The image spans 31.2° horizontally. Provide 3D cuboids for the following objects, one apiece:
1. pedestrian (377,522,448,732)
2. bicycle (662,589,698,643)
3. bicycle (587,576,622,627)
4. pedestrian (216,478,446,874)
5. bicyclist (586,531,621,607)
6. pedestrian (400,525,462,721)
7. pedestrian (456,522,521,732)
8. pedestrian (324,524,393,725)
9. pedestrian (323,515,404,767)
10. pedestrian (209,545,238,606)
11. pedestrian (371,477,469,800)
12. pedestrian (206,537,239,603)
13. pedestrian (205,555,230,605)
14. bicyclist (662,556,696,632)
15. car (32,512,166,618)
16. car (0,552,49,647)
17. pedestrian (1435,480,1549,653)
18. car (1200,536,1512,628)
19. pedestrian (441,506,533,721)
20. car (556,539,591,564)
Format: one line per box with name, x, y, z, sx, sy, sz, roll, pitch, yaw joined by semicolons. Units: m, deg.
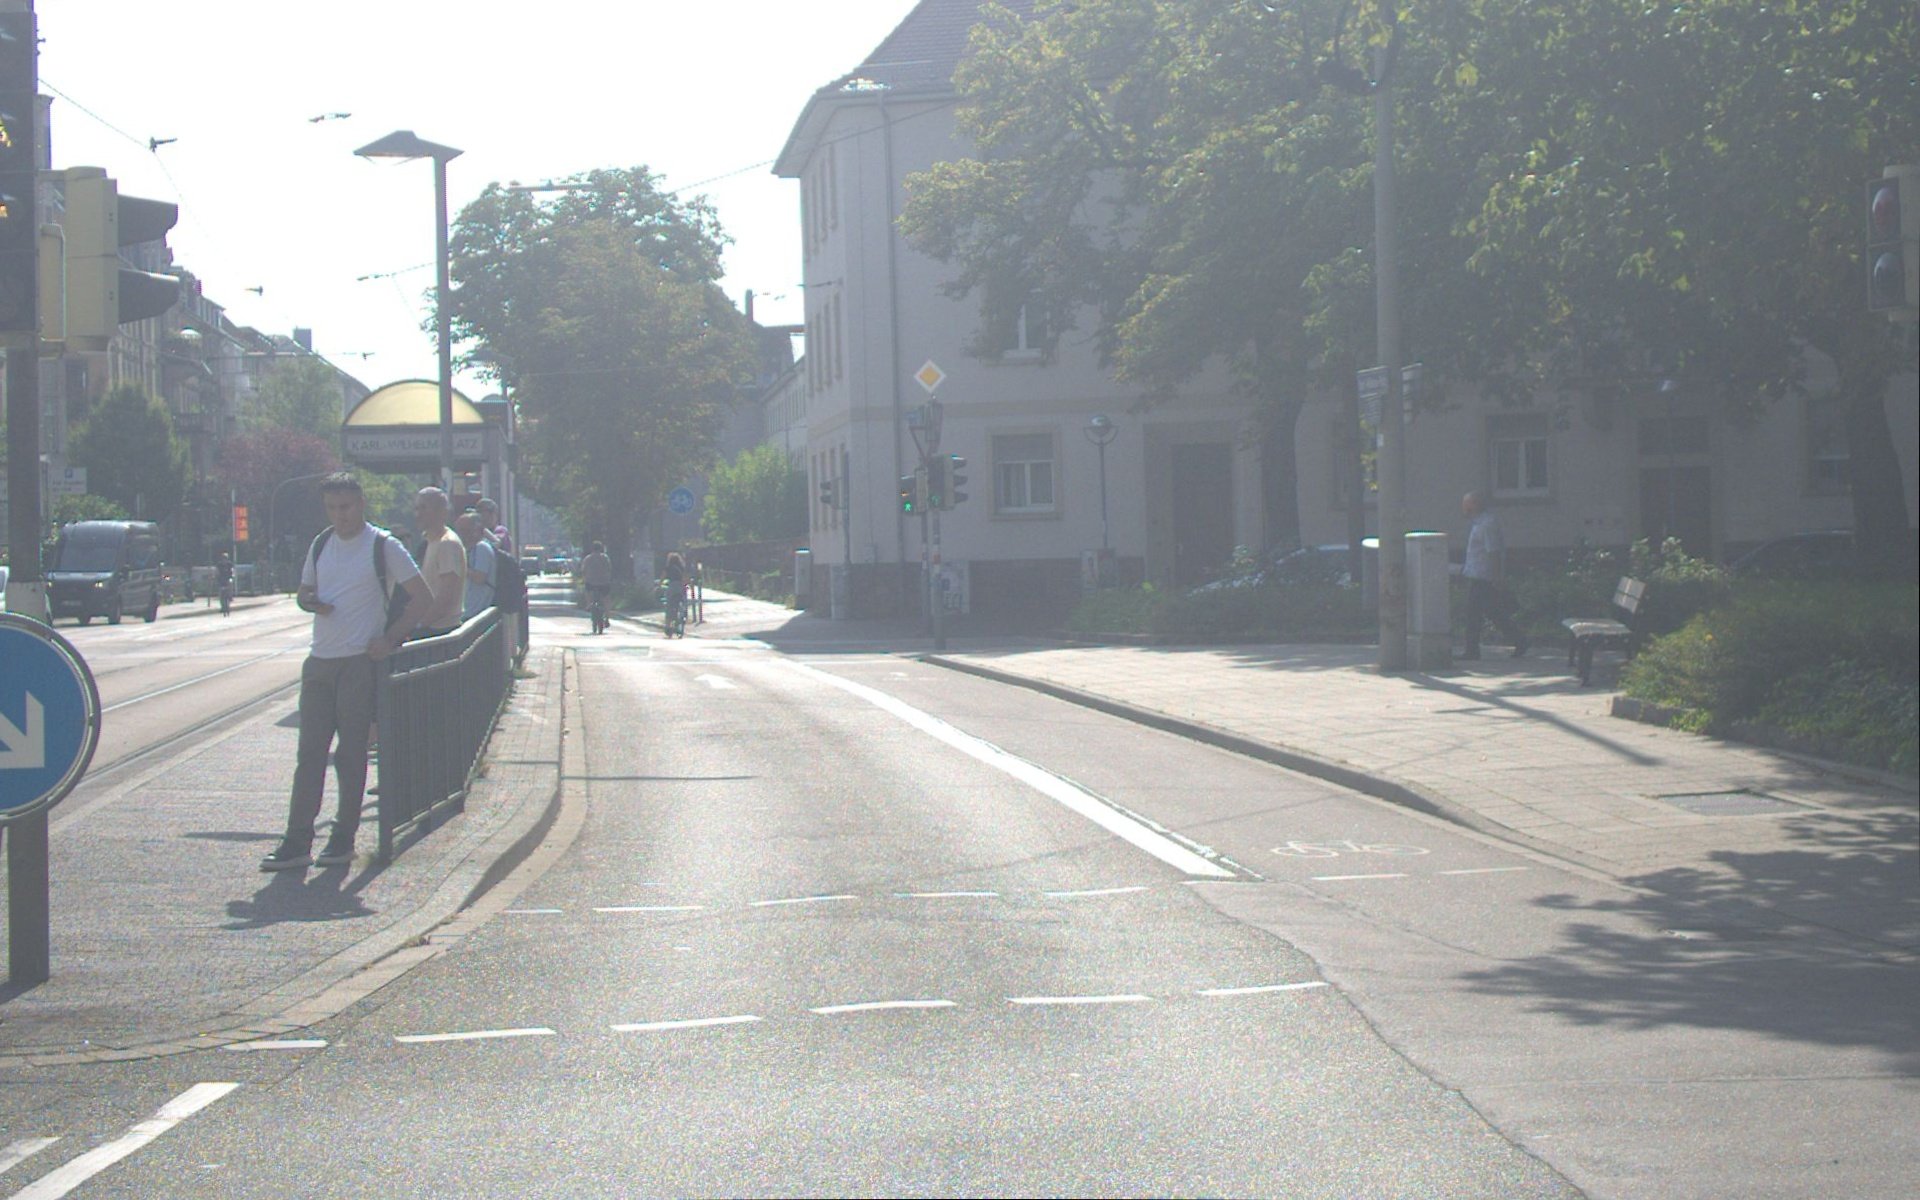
pedestrian;-4.665;0.224;29.305;0.543;1.753;0.534;1;3;-6
bicycle;-5.311;0.301;65.151;0.558;0.974;1.857;-2;1;-7
bicycle;-7.146;0.022;69.007;0.628;0.974;1.770;-2;1;-7
pedestrian;-2.854;0.319;15.623;0.701;1.719;0.747;3;3;27
bicyclist;-7.157;-0.633;68.994;0.628;1.502;0.679;-2;1;-7
pedestrian;-4.816;0.204;31.299;0.504;1.753;0.534;1;3;-6
pedestrian;-4.025;0.225;29.360;0.504;1.753;0.534;1;3;-6
pedestrian;-5.367;0.210;30.666;0.532;1.753;0.545;1;3;-4
pedestrian;-4.248;0.283;24.505;0.504;1.753;0.534;1;3;-6
pedestrian;-21.133;-0.702;98.640;0.749;1.725;0.772;-2;1;-14
pedestrian;-3.121;0.213;19.882;0.504;1.827;0.534;1;3;-6
pedestrian;-21.287;-0.863;99.245;0.773;1.886;0.894;-1;1;-3
pedestrian;-25.838;-0.693;119.634;0.749;1.725;0.772;-2;1;-14
bicyclist;-5.330;-0.111;65.157;0.558;1.412;0.872;-2;1;-7
car;-22.540;-0.935;90.205;2.347;2.653;5.105;-1;1;-2
car;-17.603;-0.015;61.315;1.801;1.648;3.643;-1;1;-2
pedestrian;5.426;-0.342;35.047;0.892;1.734;0.775;-1;1;30
car;6.112;-0.272;53.183;4.330;1.316;1.996;-1;1;33
pedestrian;-3.953;0.106;28.744;0.708;1.753;0.534;1;3;-6
car;-27.656;-3.474;246.248;1.993;1.777;4.000;0;1;1
